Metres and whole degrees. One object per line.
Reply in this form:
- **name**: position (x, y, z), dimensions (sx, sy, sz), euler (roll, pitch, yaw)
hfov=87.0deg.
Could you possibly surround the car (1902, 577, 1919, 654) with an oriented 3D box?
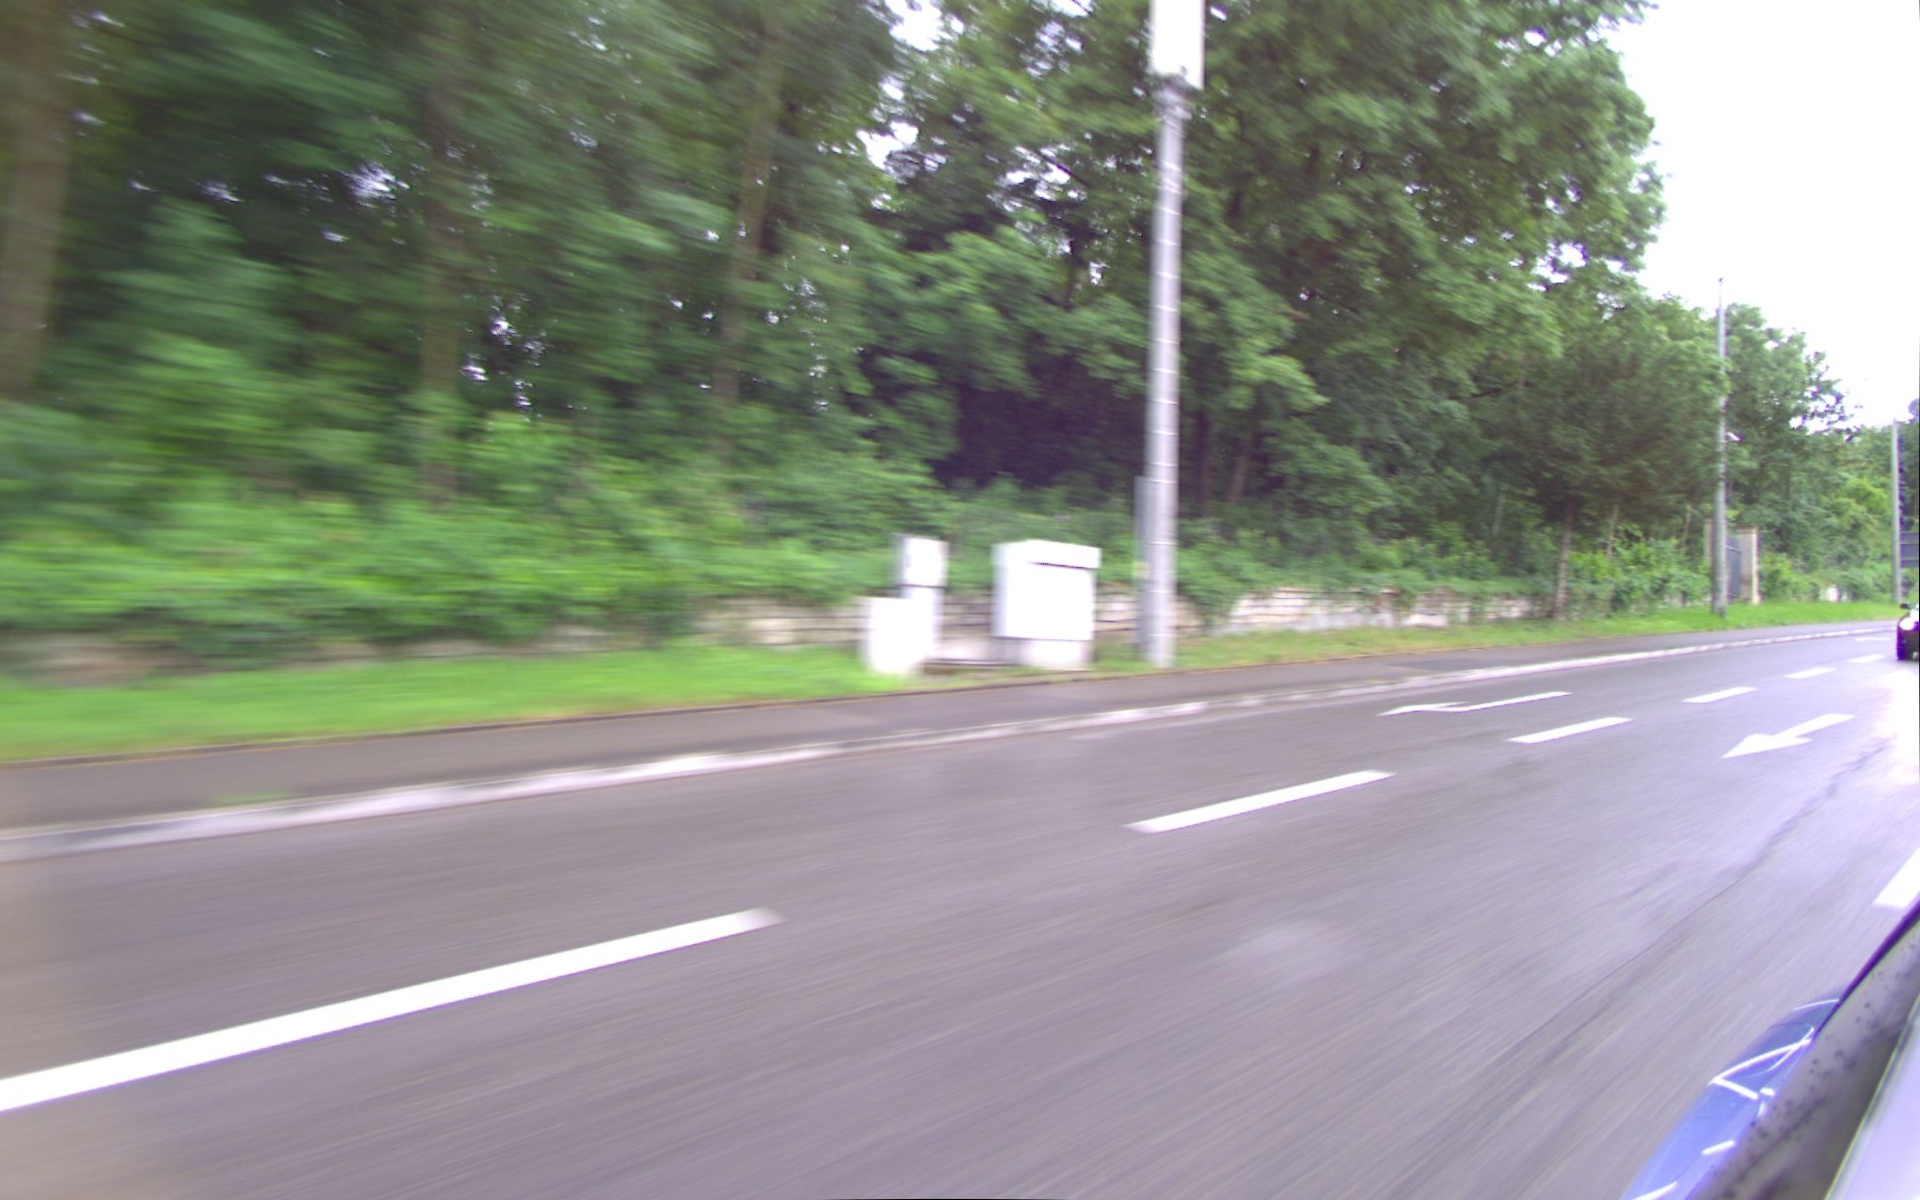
- **car**: position (22.167, 0.303, 22.046), dimensions (3.928, 1.607, 1.856), euler (-1, 1, -38)
